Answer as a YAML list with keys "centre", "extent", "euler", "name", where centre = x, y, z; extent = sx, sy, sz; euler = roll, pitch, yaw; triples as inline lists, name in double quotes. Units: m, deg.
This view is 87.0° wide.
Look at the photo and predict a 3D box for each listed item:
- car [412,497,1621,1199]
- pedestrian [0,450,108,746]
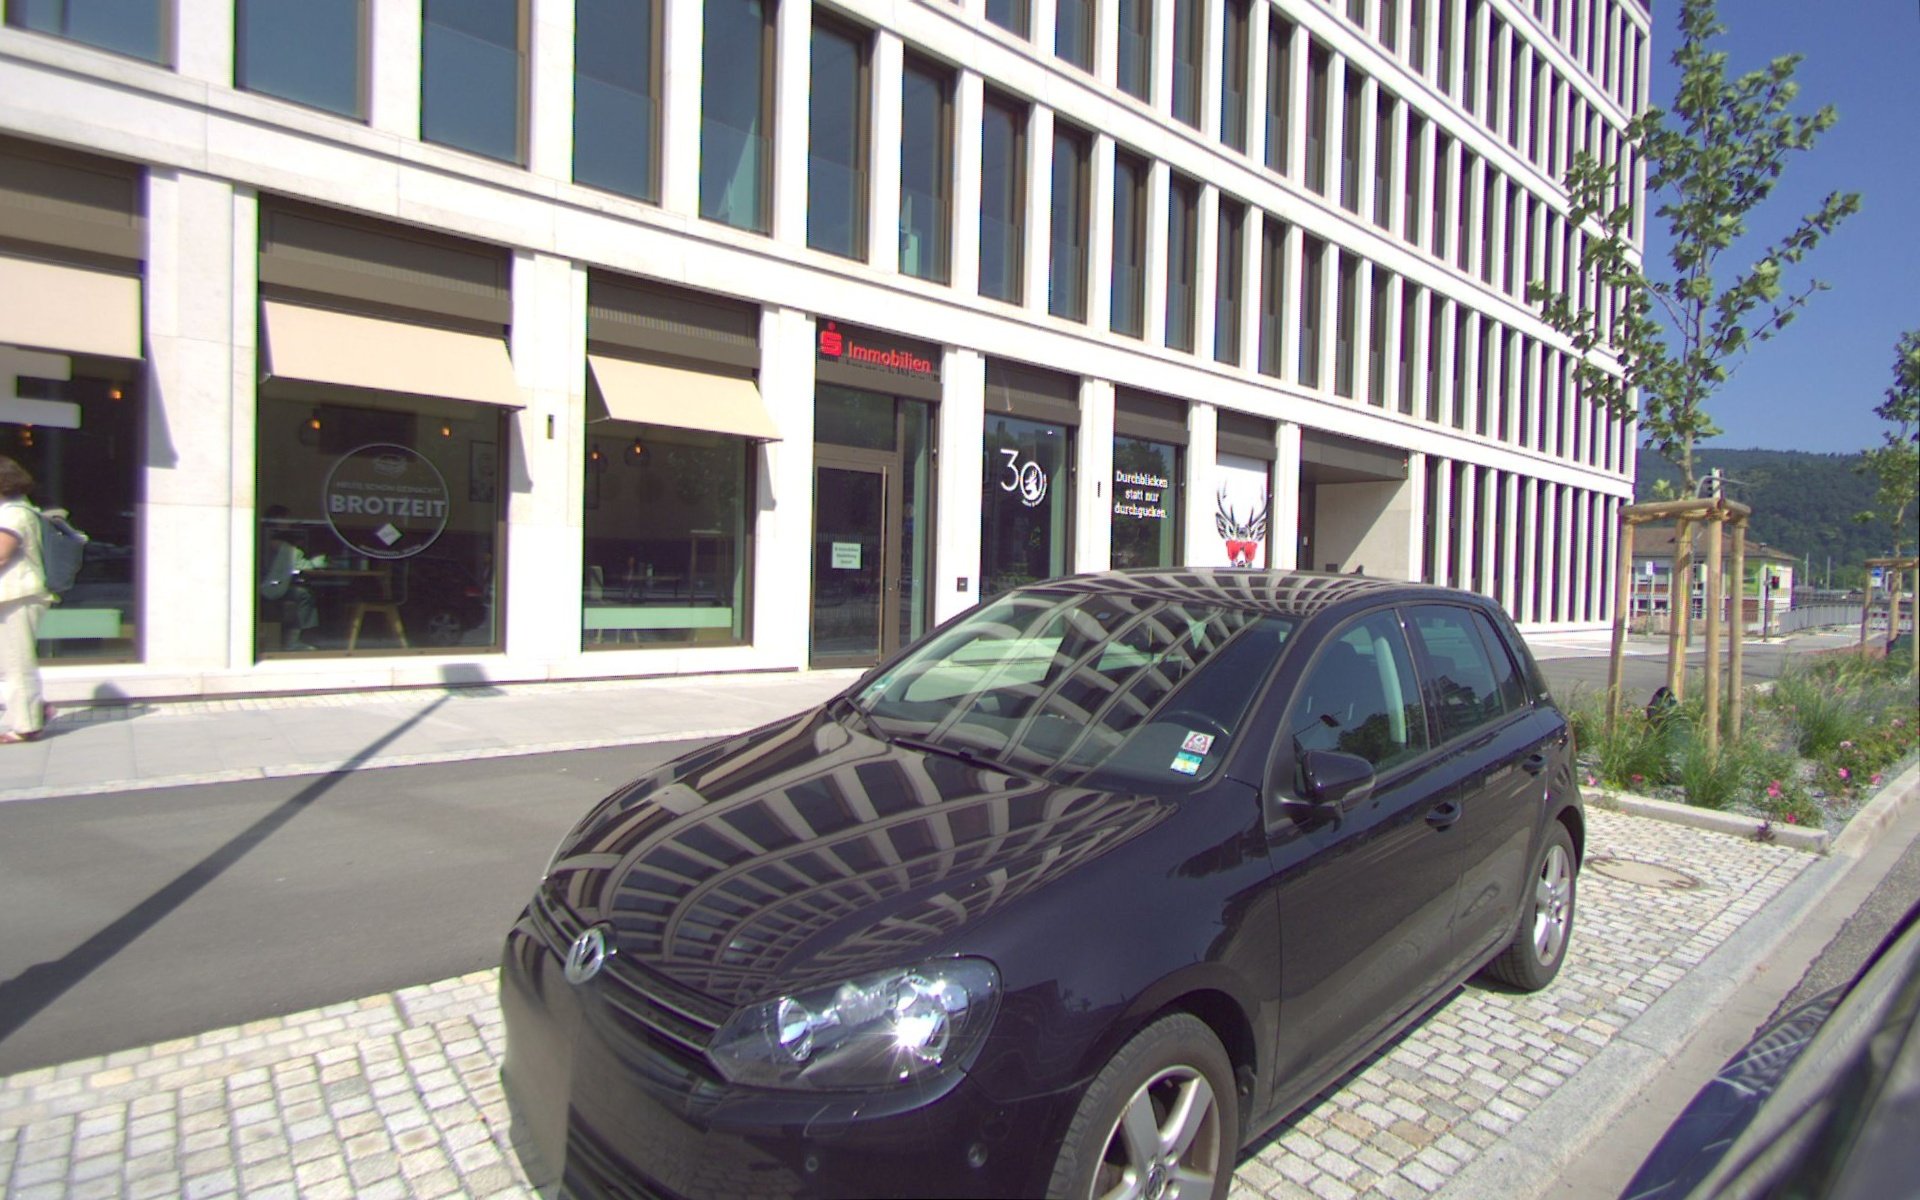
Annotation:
- centre: [0.631, 0.580, 3.285]
  extent: [3.915, 1.492, 1.738]
  euler: [0, 2, -45]
  name: "car"
- centre: [-5.859, -0.017, 6.321]
  extent: [0.800, 1.764, 0.629]
  euler: [1, 1, -41]
  name: "pedestrian"
